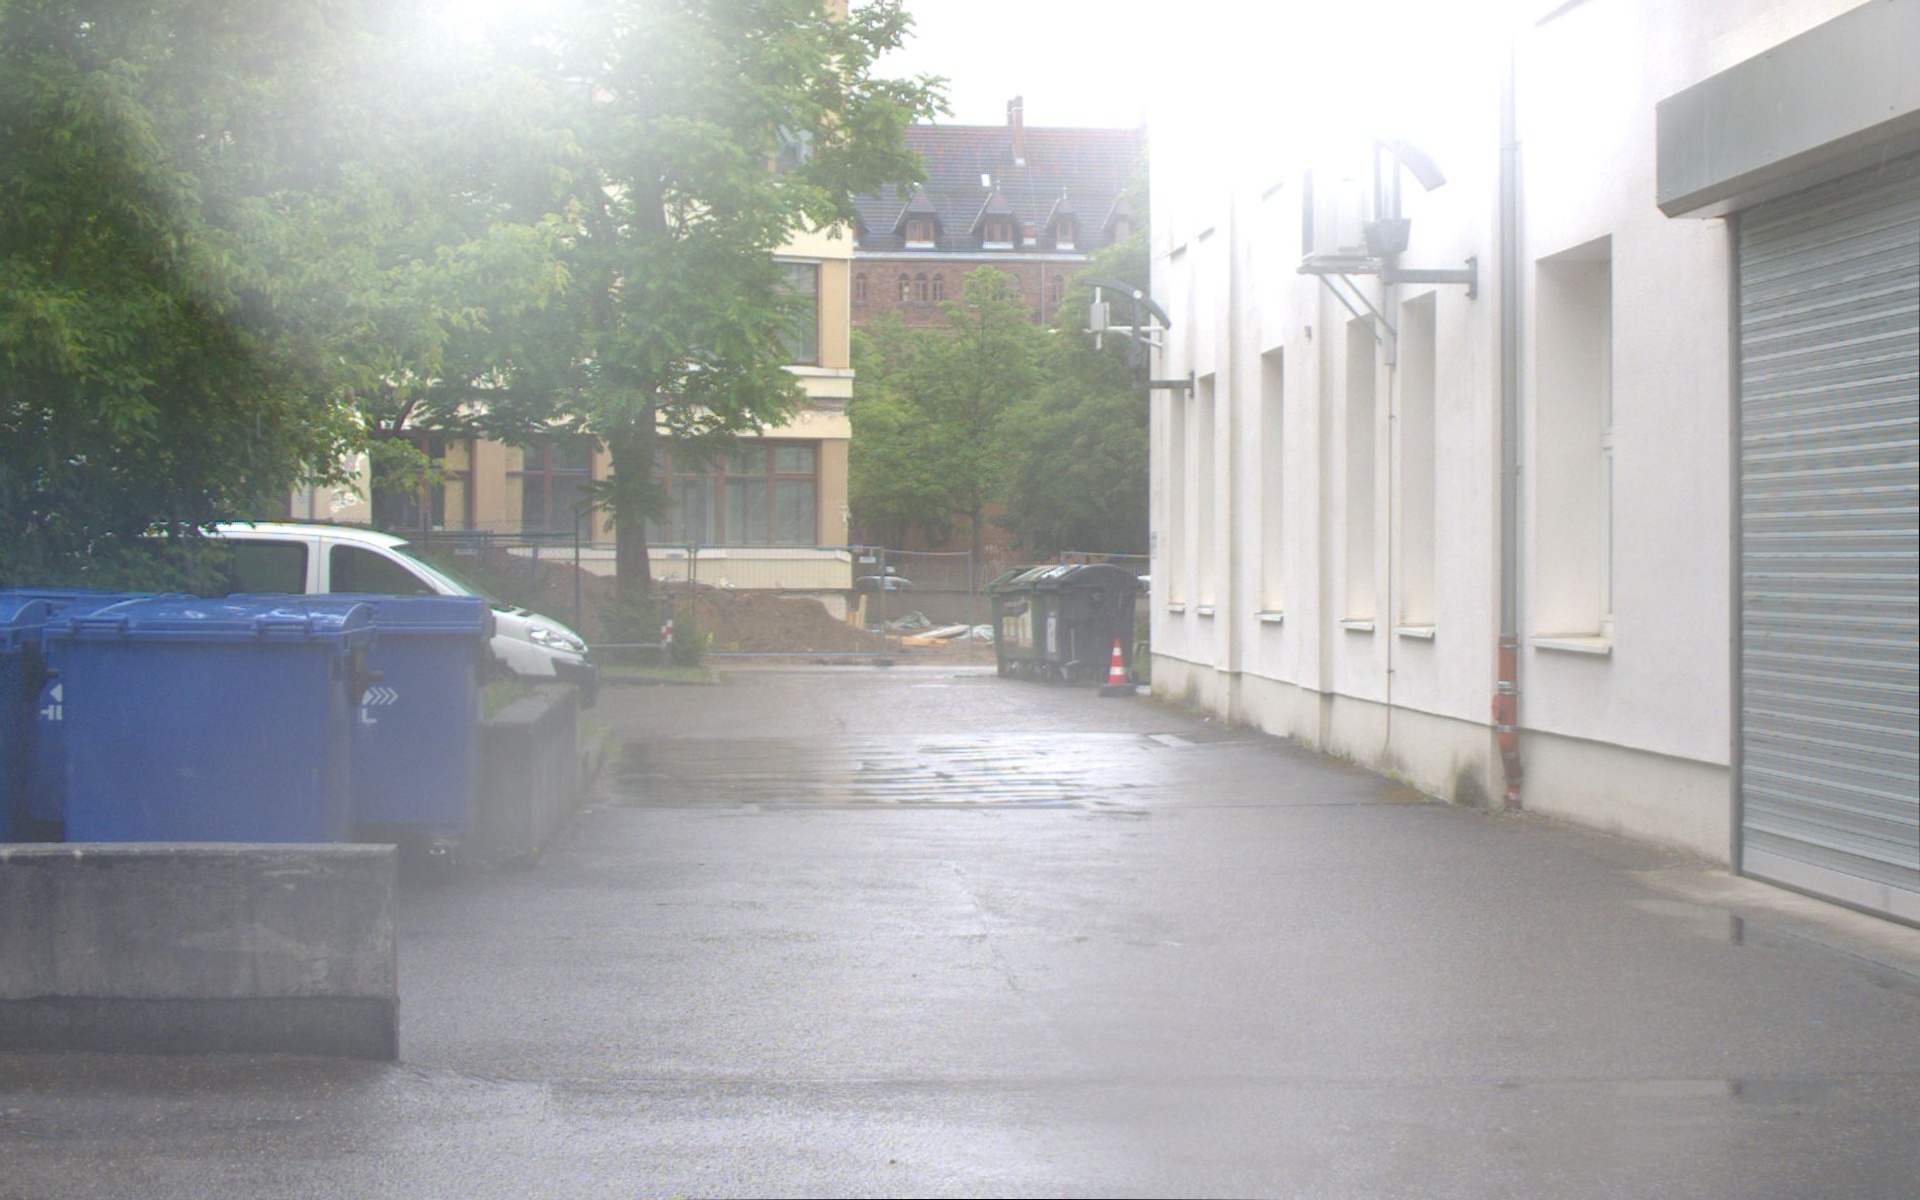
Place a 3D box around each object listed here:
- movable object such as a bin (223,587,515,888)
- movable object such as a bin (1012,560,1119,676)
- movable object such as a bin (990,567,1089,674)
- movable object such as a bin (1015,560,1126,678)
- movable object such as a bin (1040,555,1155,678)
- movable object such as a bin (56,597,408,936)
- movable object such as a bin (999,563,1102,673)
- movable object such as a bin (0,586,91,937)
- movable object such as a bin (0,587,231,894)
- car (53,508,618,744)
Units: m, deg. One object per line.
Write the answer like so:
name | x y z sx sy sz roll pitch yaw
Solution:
movable object such as a bin | -2.716 0.614 15.928 1.221 1.332 1.007 0 1 -3
movable object such as a bin | 1.350 0.247 44.263 1.214 1.463 1.236 0 -2 -6
movable object such as a bin | 1.075 0.285 47.007 1.214 1.432 1.259 0 -2 -5
movable object such as a bin | 1.362 0.243 42.627 1.214 1.432 1.294 0 -2 -5
movable object such as a bin | 1.629 0.211 40.936 1.214 1.432 1.236 0 -2 -6
movable object such as a bin | -2.972 0.659 14.172 1.203 1.332 1.117 0 0 1
movable object such as a bin | 1.193 0.248 45.633 1.214 1.432 1.259 0 -2 -5
movable object such as a bin | -4.292 0.623 14.071 1.202 1.332 1.117 2 2 -3
movable object such as a bin | -4.032 0.622 15.732 1.221 1.332 1.007 0 2 -3
car | -5.561 0.206 31.098 4.780 2.007 2.000 -1 1 -3
